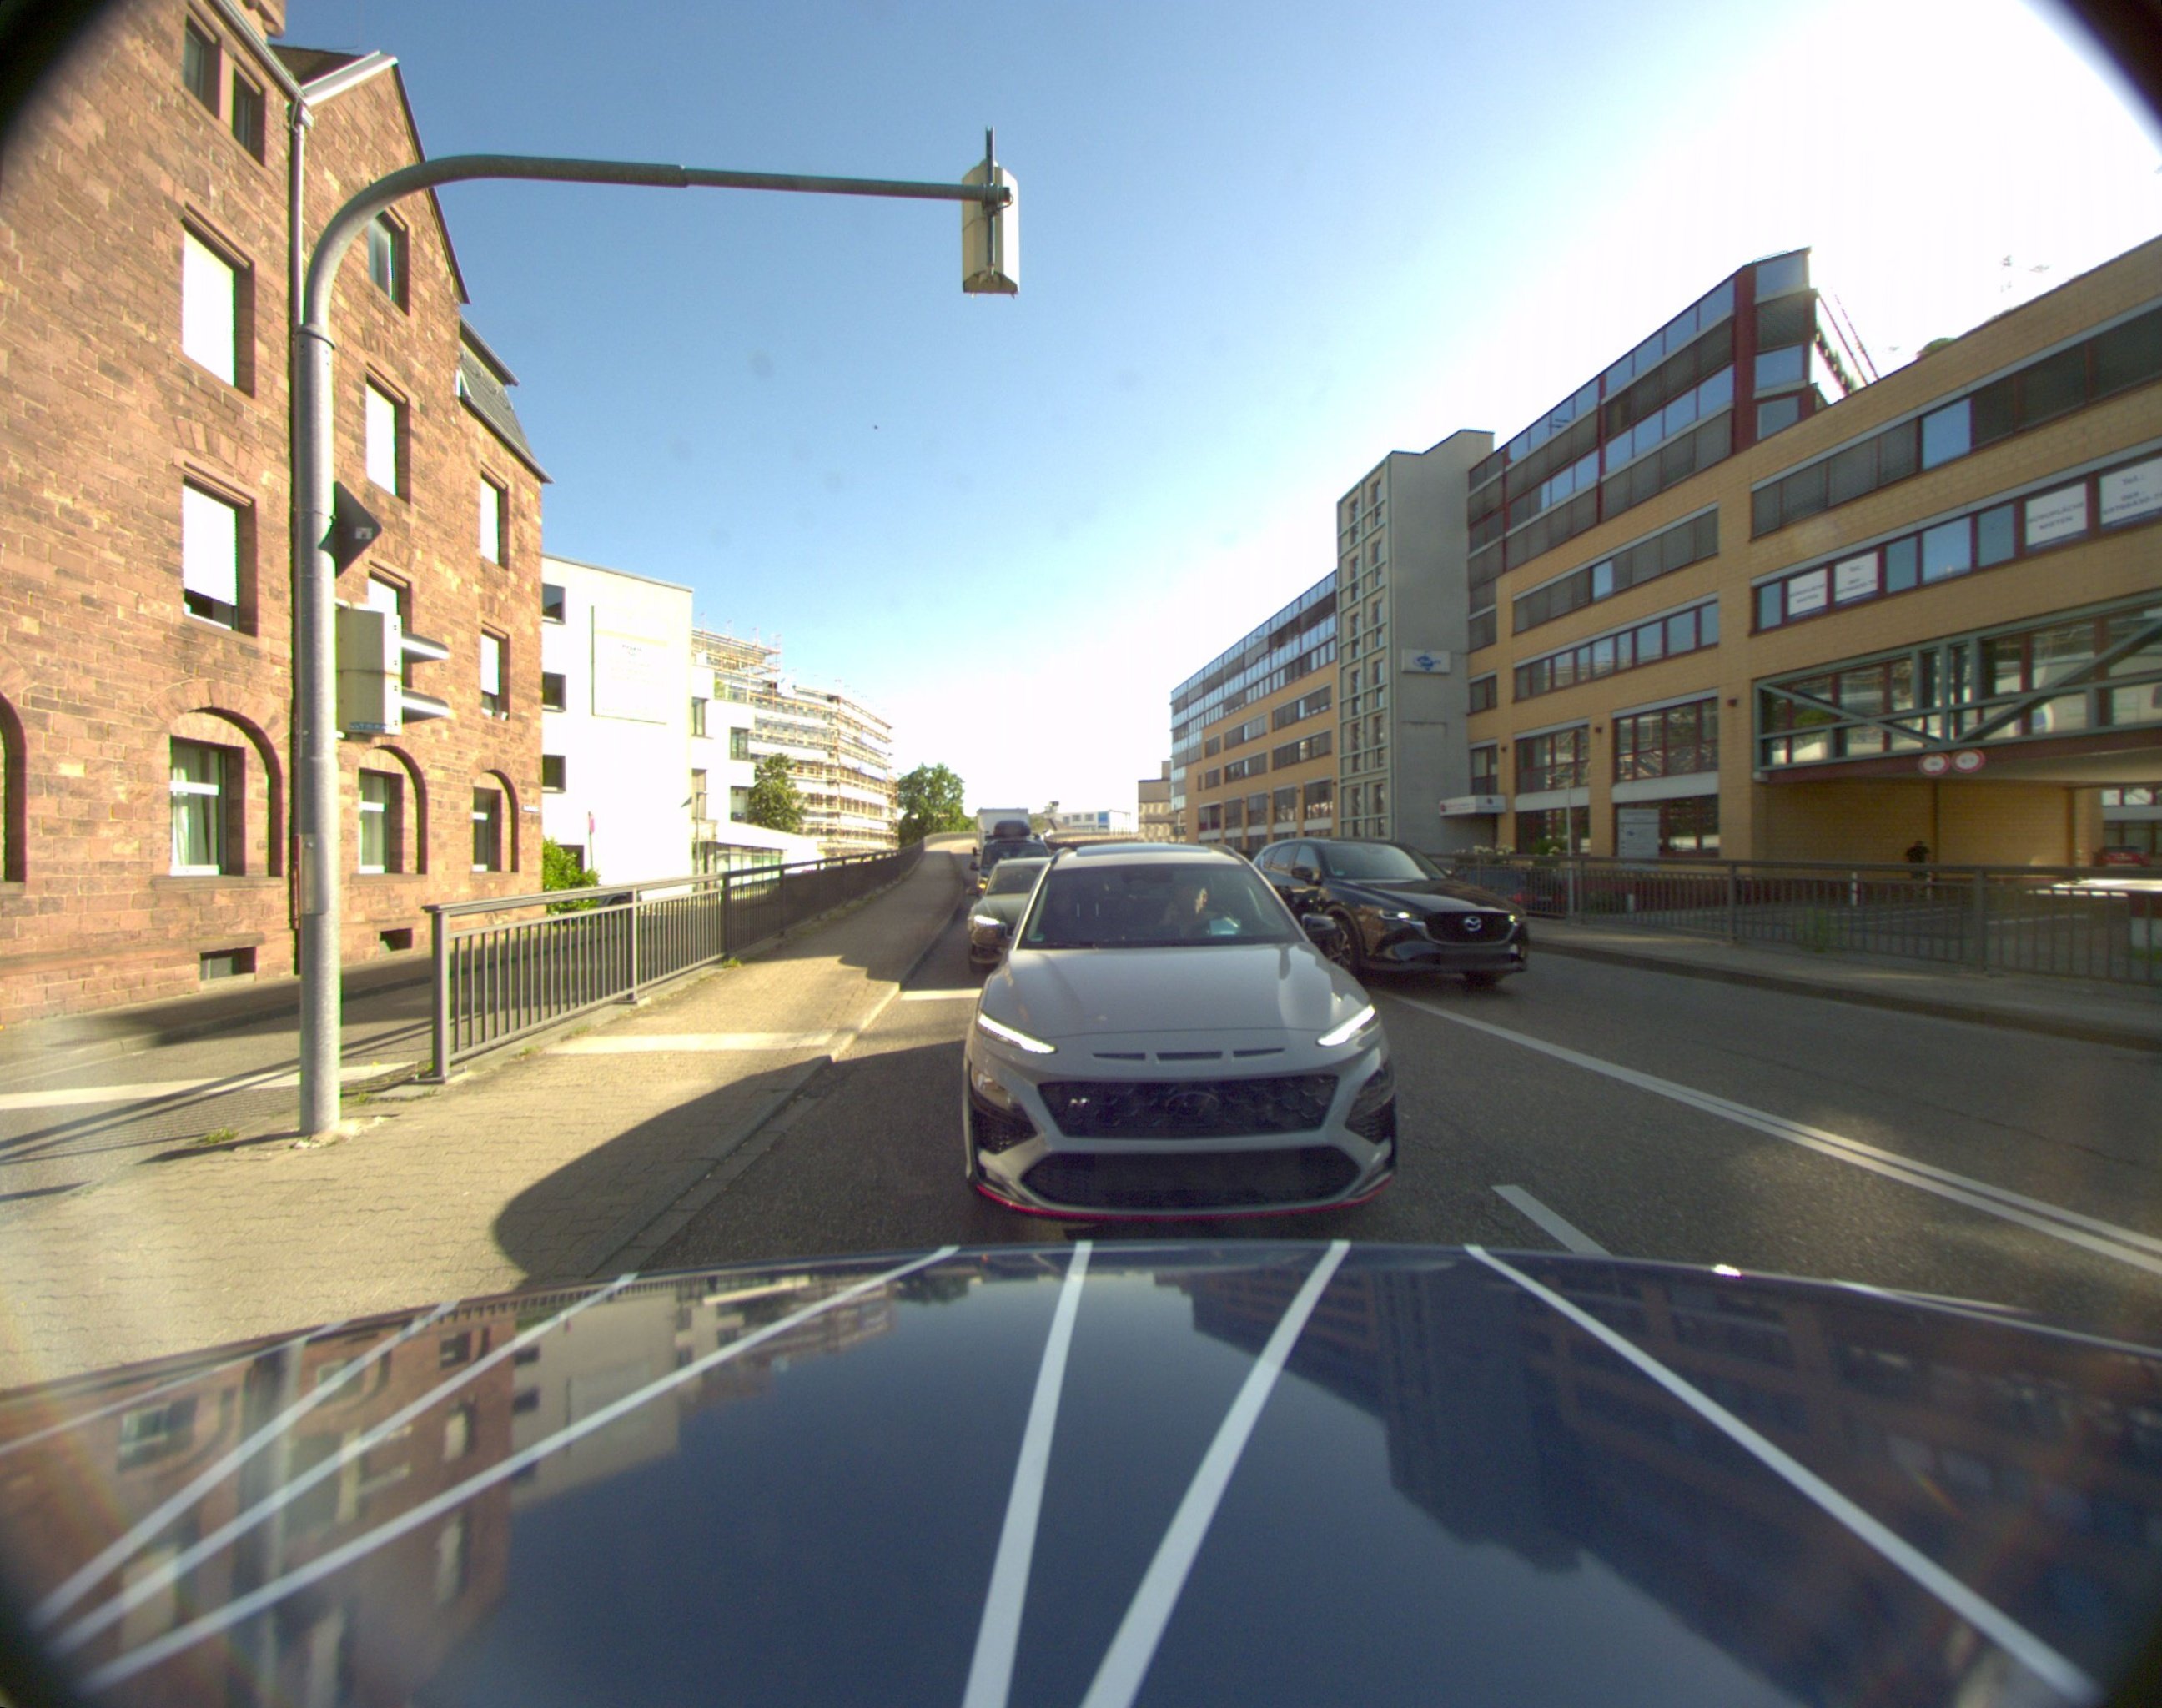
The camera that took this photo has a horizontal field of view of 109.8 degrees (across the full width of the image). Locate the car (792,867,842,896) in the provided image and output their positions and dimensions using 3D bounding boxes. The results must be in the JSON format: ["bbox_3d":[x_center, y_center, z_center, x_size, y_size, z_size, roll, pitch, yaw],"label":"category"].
[{"bbox_3d":[-14.596,1.490,42.247,2.054,1.522,4.089,-1,-1,-11],"label":"car"}]

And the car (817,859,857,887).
[{"bbox_3d":[-15.828,1.221,49.472,2.054,1.676,4.089,-1,-1,-11],"label":"car"}]

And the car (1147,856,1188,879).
[{"bbox_3d":[6.345,0.958,56.107,2.000,1.499,3.997,-2,1,-8],"label":"car"}]

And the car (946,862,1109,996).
[{"bbox_3d":[-0.783,0.885,11.126,1.879,1.462,4.633,0,0,-4],"label":"car"}]

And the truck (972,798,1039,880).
[{"bbox_3d":[-3.297,-0.545,32.424,2.504,3.109,6.956,-1,-1,-7],"label":"truck"}]

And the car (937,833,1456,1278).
[{"bbox_3d":[0.489,0.747,4.873,1.878,1.612,4.197,0,0,2],"label":"car"}]

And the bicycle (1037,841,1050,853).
[{"bbox_3d":[-4.083,-0.754,81.888,1.083,1.223,2.781,-2,1,-9],"label":"bicycle"}]

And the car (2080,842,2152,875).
[{"bbox_3d":[53.998,0.224,39.711,4.007,1.512,1.763,-3,1,-43],"label":"car"}]

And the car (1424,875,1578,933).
[{"bbox_3d":[12.431,1.409,22.813,1.639,1.514,4.156,0,-1,-14],"label":"car"}]

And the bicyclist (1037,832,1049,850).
[{"bbox_3d":[-4.110,-1.424,81.859,1.083,1.861,1.083,-2,1,-9],"label":"bicyclist"}]

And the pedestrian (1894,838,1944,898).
[{"bbox_3d":[26.507,0.440,24.041,0.747,1.840,0.705,-2,0,-5],"label":"pedestrian"}]

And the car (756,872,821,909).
[{"bbox_3d":[-13.382,1.619,35.006,2.054,1.522,4.089,-1,-1,-11],"label":"car"}]

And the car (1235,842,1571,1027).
[{"bbox_3d":[3.463,0.723,9.194,1.880,1.699,4.193,0,1,-7],"label":"car"}]

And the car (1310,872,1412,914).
[{"bbox_3d":[10.985,1.489,30.148,1.881,1.514,4.157,0,-1,-11],"label":"car"}]

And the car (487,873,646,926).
[{"bbox_3d":[-17.074,1.440,25.340,4.101,1.522,1.914,0,-1,-44],"label":"car"}]

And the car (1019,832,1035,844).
[{"bbox_3d":[-8.344,-2.436,117.930,1.836,1.745,4.491,0,1,6],"label":"car"}]

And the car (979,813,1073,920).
[{"bbox_3d":[-1.386,0.293,18.408,1.951,2.248,4.783,0,-1,-5],"label":"car"}]
